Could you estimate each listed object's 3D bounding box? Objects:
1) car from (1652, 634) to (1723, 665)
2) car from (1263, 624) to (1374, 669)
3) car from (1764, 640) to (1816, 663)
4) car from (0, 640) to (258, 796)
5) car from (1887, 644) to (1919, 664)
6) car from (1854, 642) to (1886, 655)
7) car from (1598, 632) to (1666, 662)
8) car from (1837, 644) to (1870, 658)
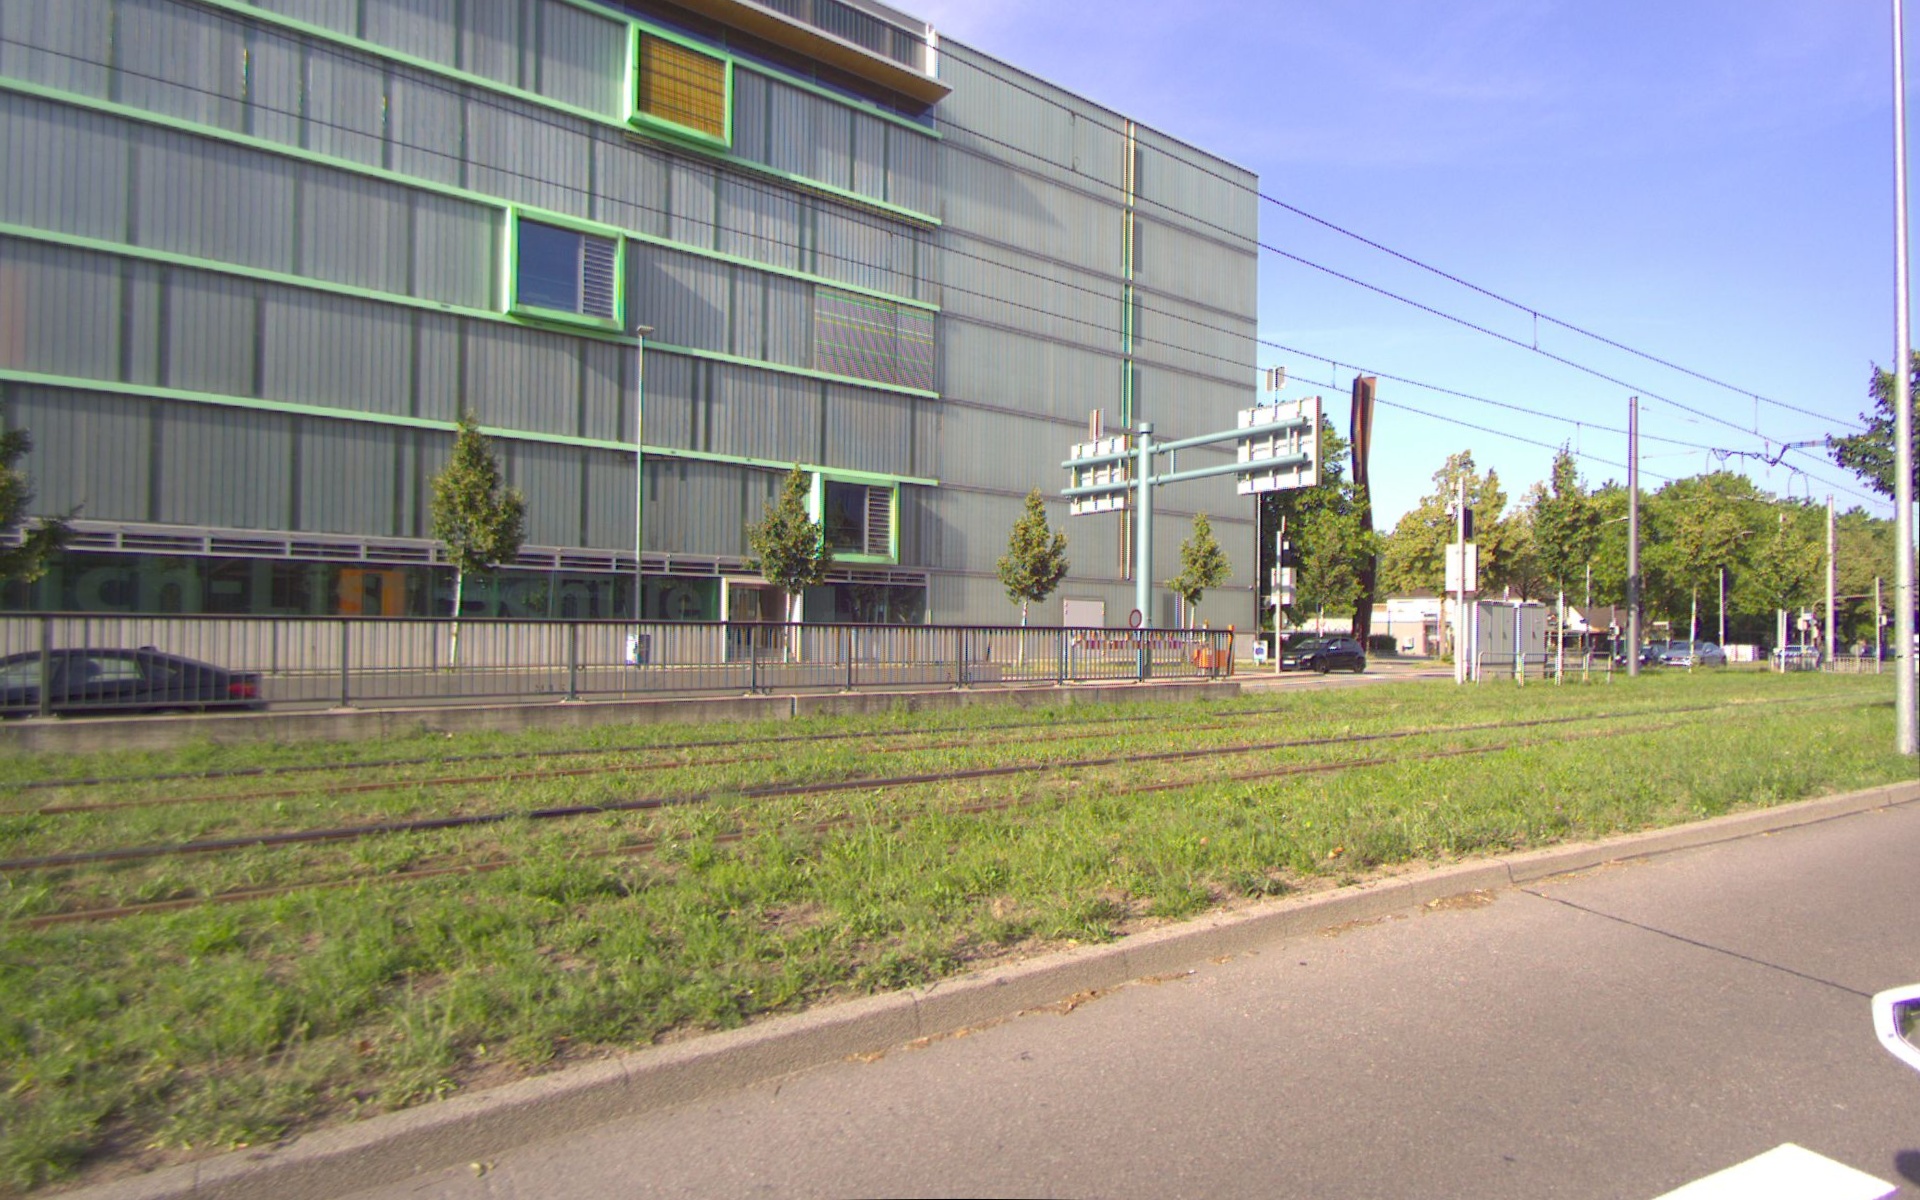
[{"bbox_3d":[39.571,2.666,54.569,4.873,1.547,1.977,2,-5,-41],"label":"car"},{"bbox_3d":[14.470,1.849,40.459,4.682,1.709,1.979,2,-1,-37],"label":"car"},{"bbox_3d":[60.359,3.727,73.035,4.398,1.548,1.893,2,-1,-36],"label":"car"},{"bbox_3d":[-11.334,1.351,12.084,4.682,1.709,1.979,2,-1,-37],"label":"car"},{"bbox_3d":[76.926,4.332,81.380,4.273,1.548,1.979,2,-2,-37],"label":"car"},{"bbox_3d":[112.475,6.018,124.130,3.954,1.580,1.872,2,-2,-31],"label":"car"},{"bbox_3d":[40.046,2.785,59.798,4.573,1.709,1.979,2,-1,-37],"label":"car"},{"bbox_3d":[108.133,6.151,121.557,3.954,1.580,1.872,2,-2,-31],"label":"car"}]
